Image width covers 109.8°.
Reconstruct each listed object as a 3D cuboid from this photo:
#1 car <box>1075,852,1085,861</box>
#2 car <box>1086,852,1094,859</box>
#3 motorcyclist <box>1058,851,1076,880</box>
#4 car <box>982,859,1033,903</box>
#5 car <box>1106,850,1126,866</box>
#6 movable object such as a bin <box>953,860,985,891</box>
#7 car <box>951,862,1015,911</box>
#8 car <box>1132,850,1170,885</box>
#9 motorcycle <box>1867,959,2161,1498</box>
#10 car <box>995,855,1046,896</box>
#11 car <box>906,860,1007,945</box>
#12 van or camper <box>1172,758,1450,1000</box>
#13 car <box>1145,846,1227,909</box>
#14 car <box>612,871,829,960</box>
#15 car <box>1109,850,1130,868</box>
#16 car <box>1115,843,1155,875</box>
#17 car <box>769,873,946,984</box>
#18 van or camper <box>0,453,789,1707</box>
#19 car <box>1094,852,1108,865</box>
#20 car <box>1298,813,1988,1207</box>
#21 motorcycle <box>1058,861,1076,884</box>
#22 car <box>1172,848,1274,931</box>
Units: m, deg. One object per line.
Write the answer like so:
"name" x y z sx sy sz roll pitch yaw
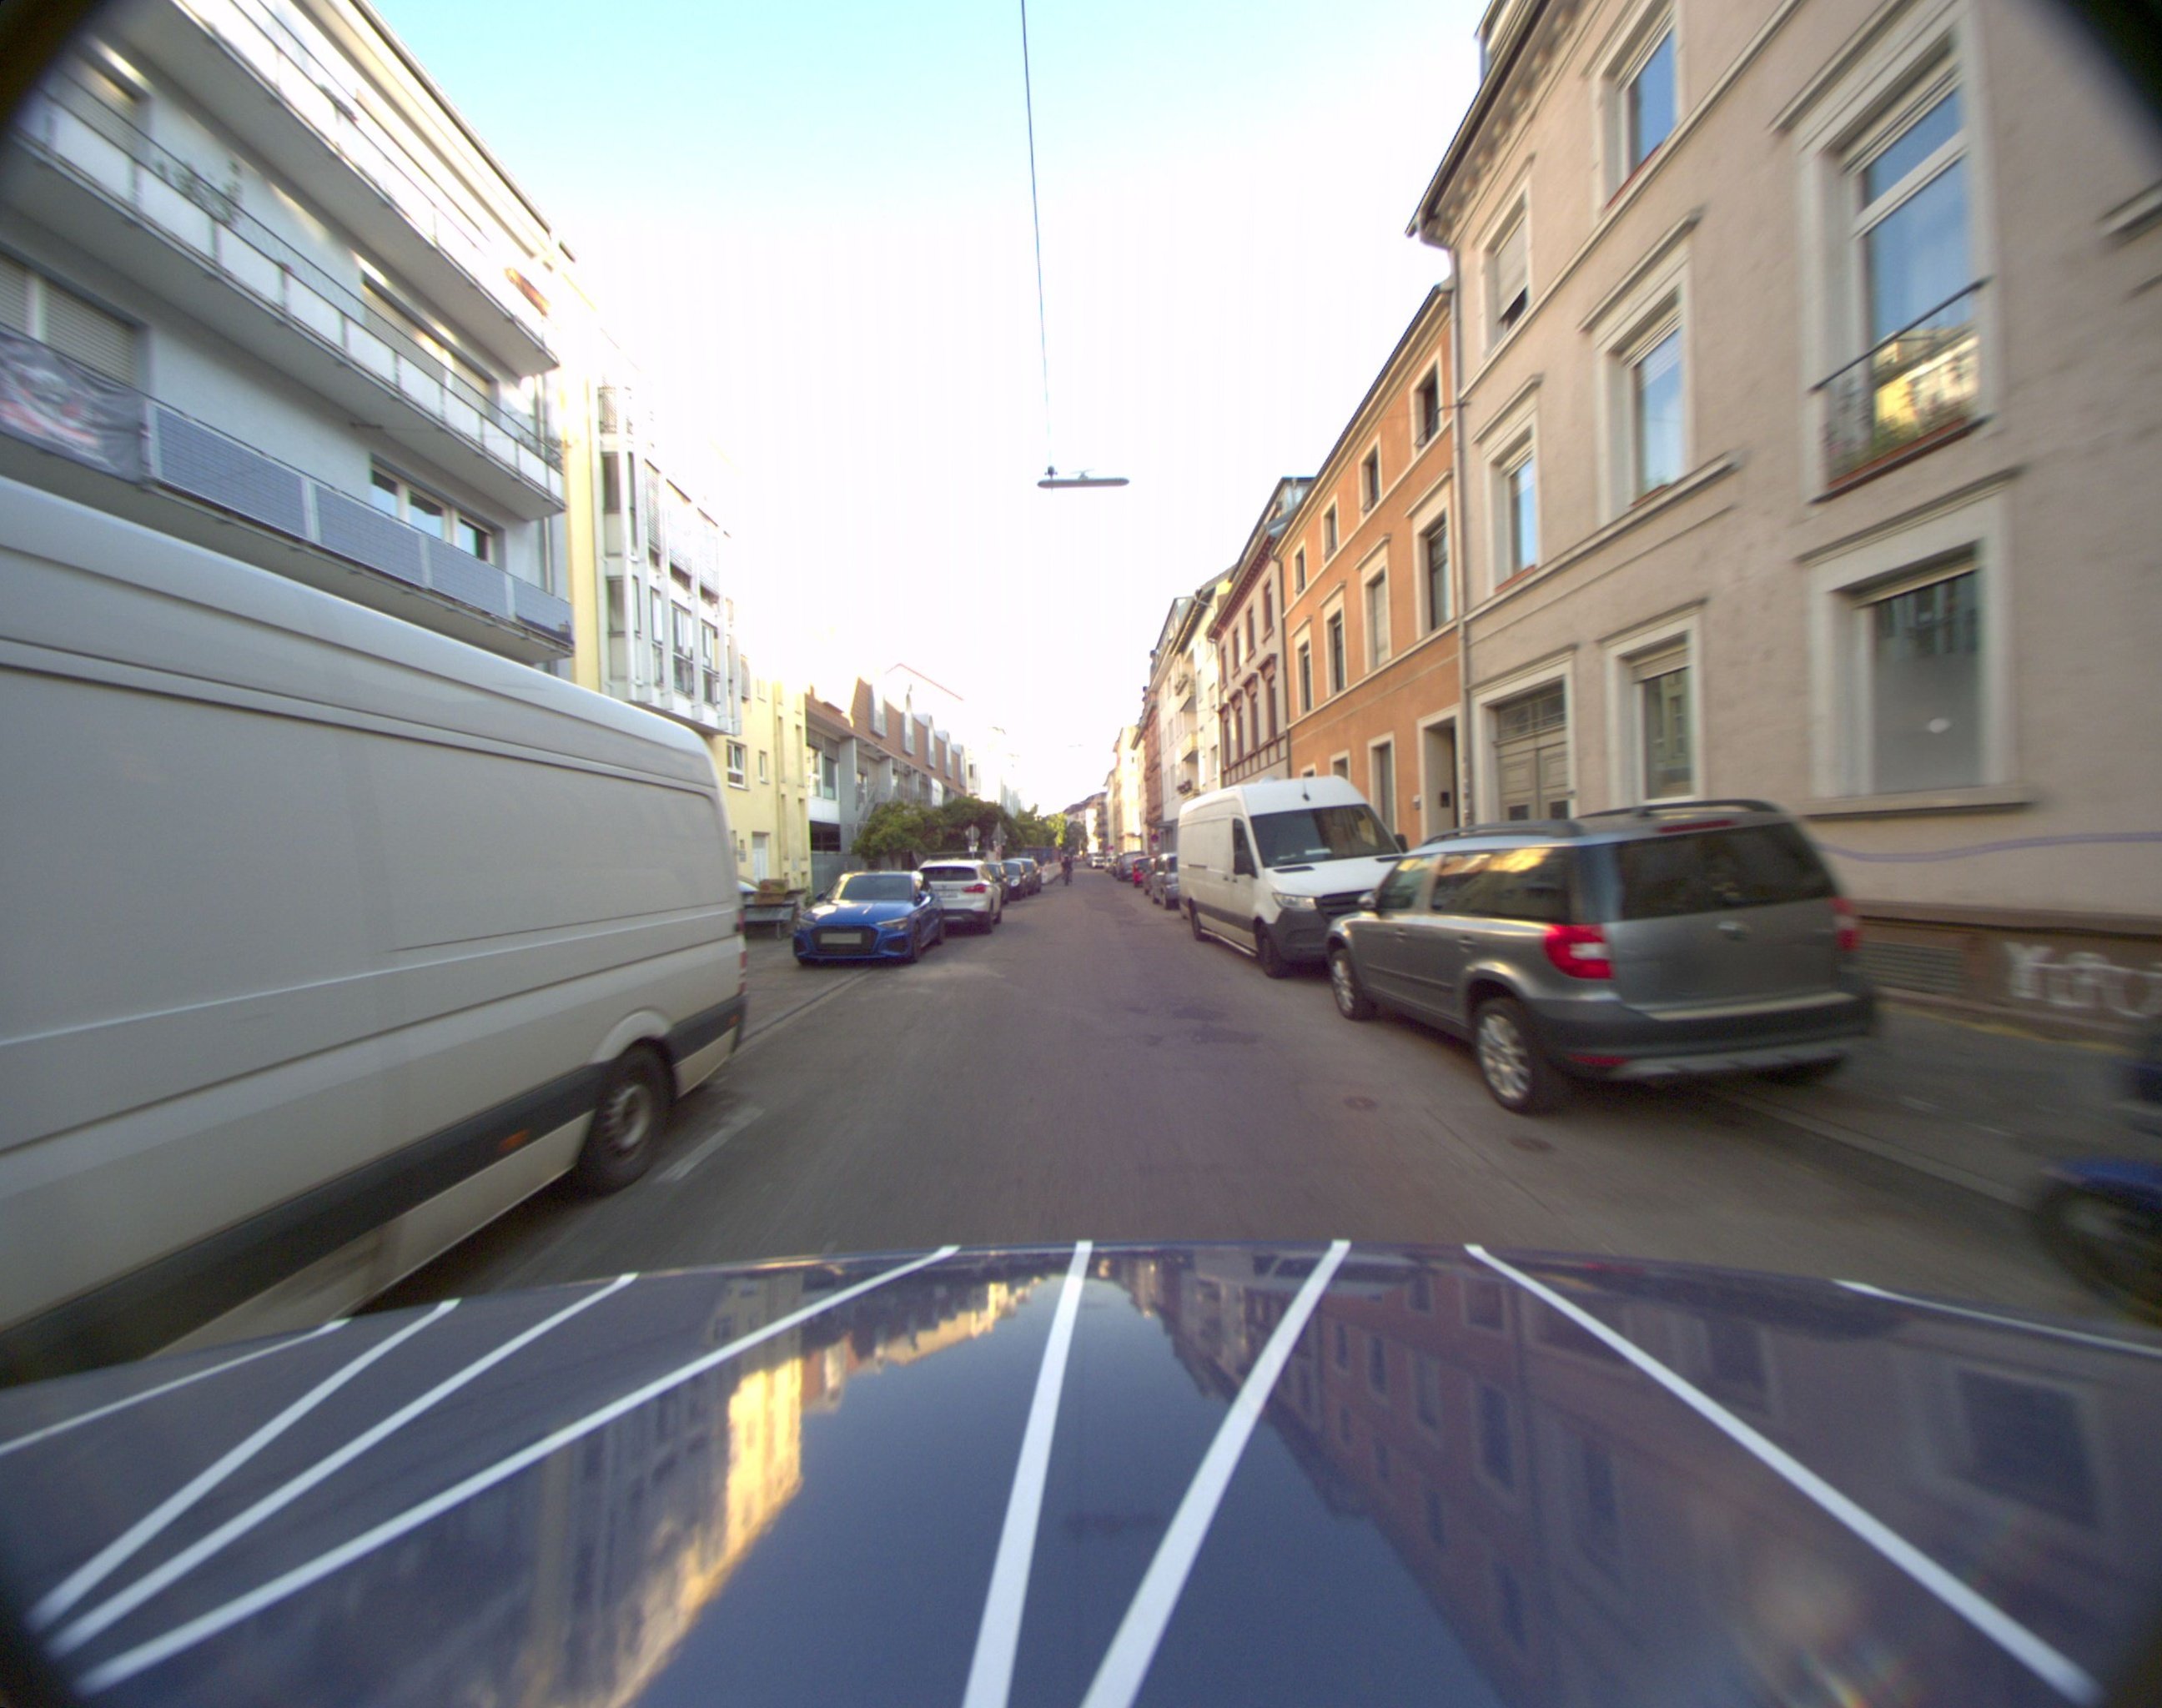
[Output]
"car" -0.199 0.530 150.963 1.998 1.783 4.000 -3 0 0
"car" 2.384 0.385 196.729 1.998 1.783 4.000 -3 0 0
"motorcyclist" -0.791 0.675 43.214 0.874 1.558 1.000 -4 -1 3
"car" -2.893 1.014 30.500 1.626 1.548 3.694 -3 0 0
"car" 3.325 0.369 73.284 1.636 1.421 3.554 -3 0 -2
"movable object such as a bin" -5.397 1.020 36.541 1.256 1.368 0.800 -4 1 -25
"car" -3.232 1.038 25.852 1.624 1.477 4.124 0 0 0
"car" 3.544 0.646 38.530 1.672 1.477 3.607 -7 0 5
"motorcycle" 3.052 0.984 1.327 0.712 1.227 2.474 -2 0 -2
"car" -2.714 0.937 34.925 1.753 1.673 4.526 -3 0 2
"car" -2.746 1.001 17.683 1.727 1.602 4.587 -2 0 -3
"van or camper" 2.981 0.262 11.962 1.954 2.634 7.139 -1 0 -2
"car" 3.084 0.651 23.088 1.715 1.634 3.979 -5 0 -1
"car" -7.860 1.301 16.827 3.905 1.598 1.694 -3 1 -1
"car" 3.414 0.446 68.092 1.559 1.500 3.597 -5 0 -1
"car" 3.351 0.314 47.849 1.999 1.848 4.584 -3 0 -1
"car" -3.406 1.057 12.454 1.727 1.380 4.294 -1 0 -2
"van or camper" -3.213 0.507 2.022 2.105 2.587 7.510 -1 0 -2
"car" 2.576 0.580 96.835 1.688 1.487 3.844 1 1 2
"car" 3.242 0.720 5.679 1.868 1.740 4.292 -3 0 -1
"motorcycle" -0.777 1.057 43.040 0.806 1.242 1.699 -4 -1 3
"car" 3.206 0.737 17.840 1.594 1.676 3.652 -3 0 -1
